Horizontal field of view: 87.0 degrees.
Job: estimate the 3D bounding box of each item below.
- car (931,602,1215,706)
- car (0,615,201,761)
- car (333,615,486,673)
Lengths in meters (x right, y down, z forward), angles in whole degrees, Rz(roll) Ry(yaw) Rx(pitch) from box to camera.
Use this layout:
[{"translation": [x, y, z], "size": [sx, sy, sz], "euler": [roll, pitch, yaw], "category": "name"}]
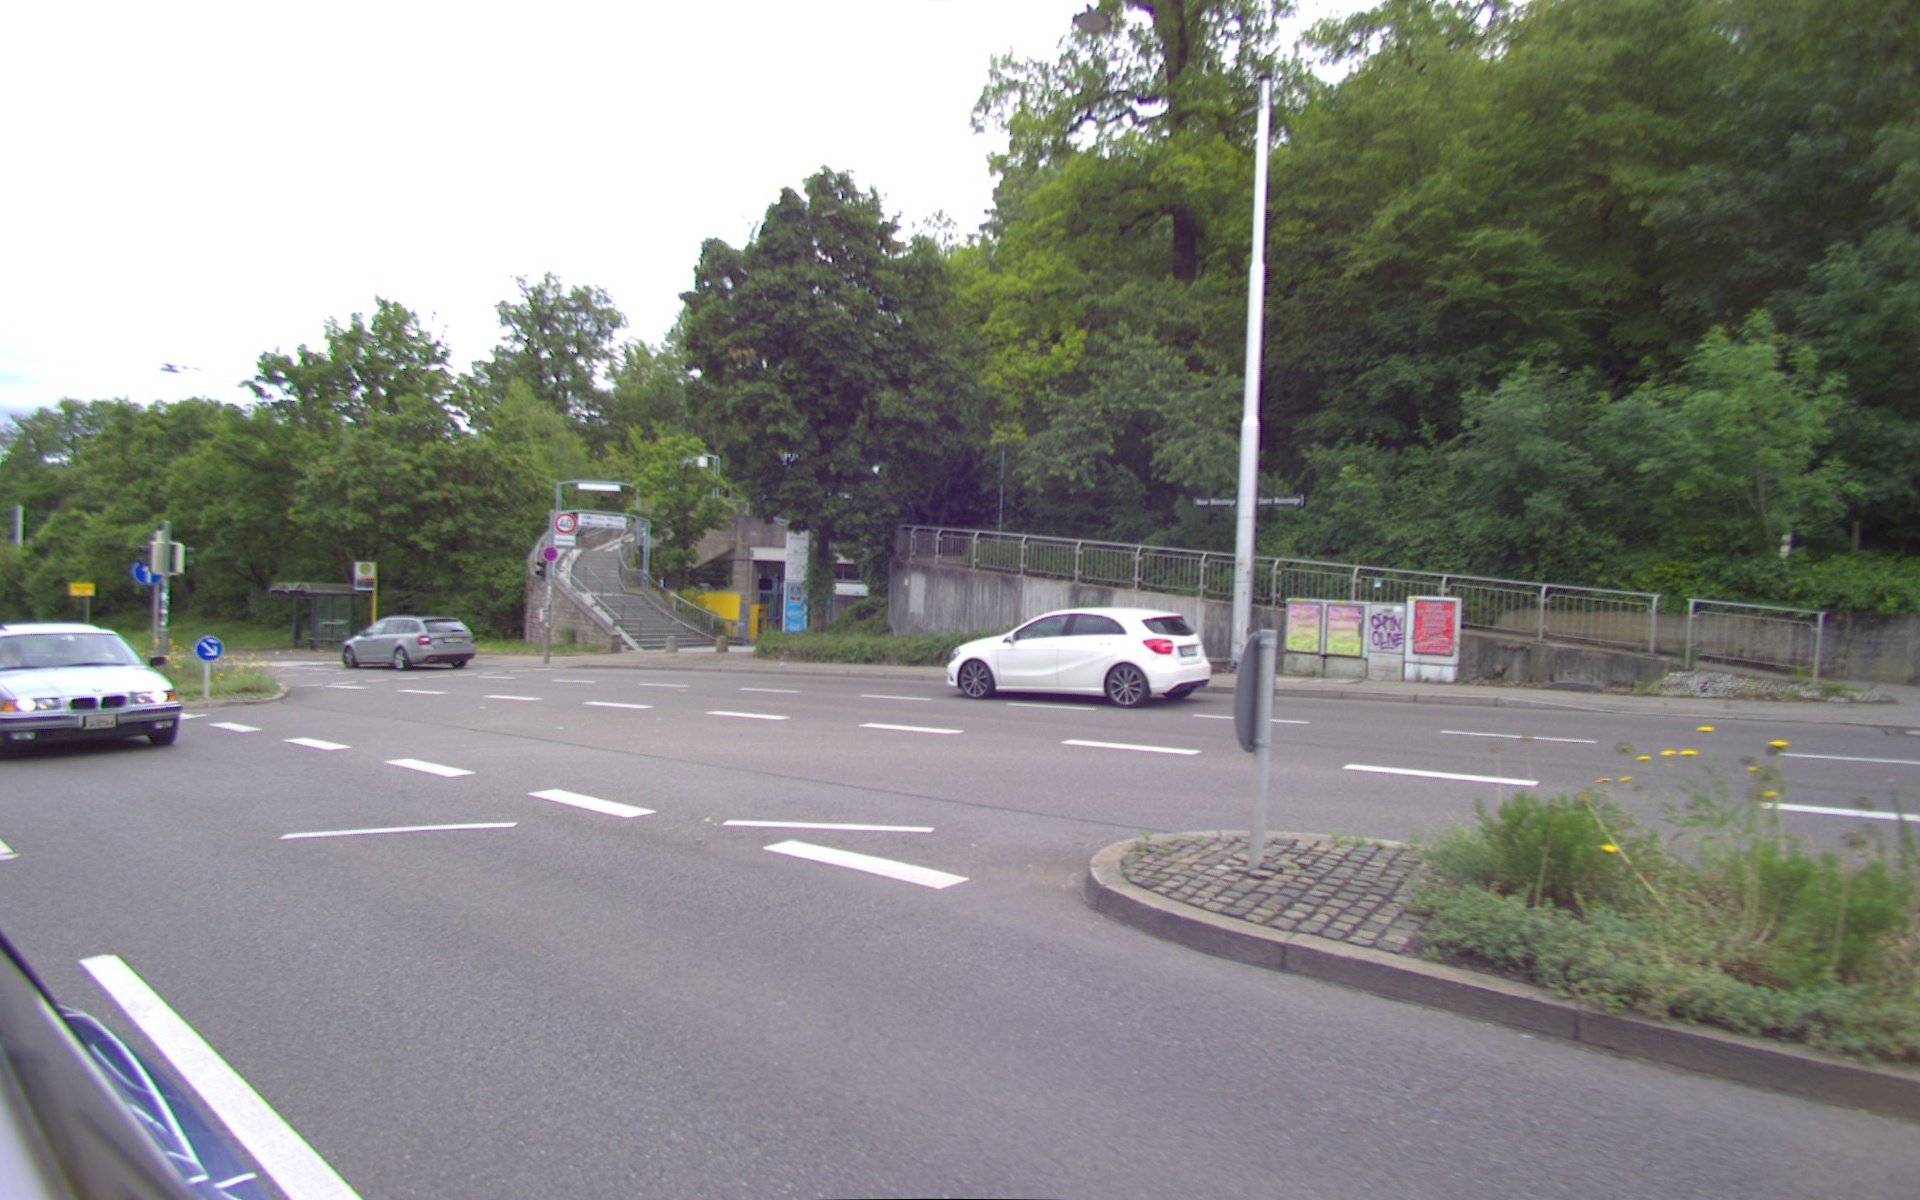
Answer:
[{"translation": [1.659, 0.784, 15.678], "size": [4.138, 1.404, 1.635], "euler": [-1, -2, 38], "category": "car"}, {"translation": [-10.634, 0.902, 11.880], "size": [4.610, 1.404, 1.735], "euler": [-1, -1, 39], "category": "car"}, {"translation": [-15.158, 1.170, 27.787], "size": [4.550, 1.460, 1.639], "euler": [-1, -1, 31], "category": "car"}]
